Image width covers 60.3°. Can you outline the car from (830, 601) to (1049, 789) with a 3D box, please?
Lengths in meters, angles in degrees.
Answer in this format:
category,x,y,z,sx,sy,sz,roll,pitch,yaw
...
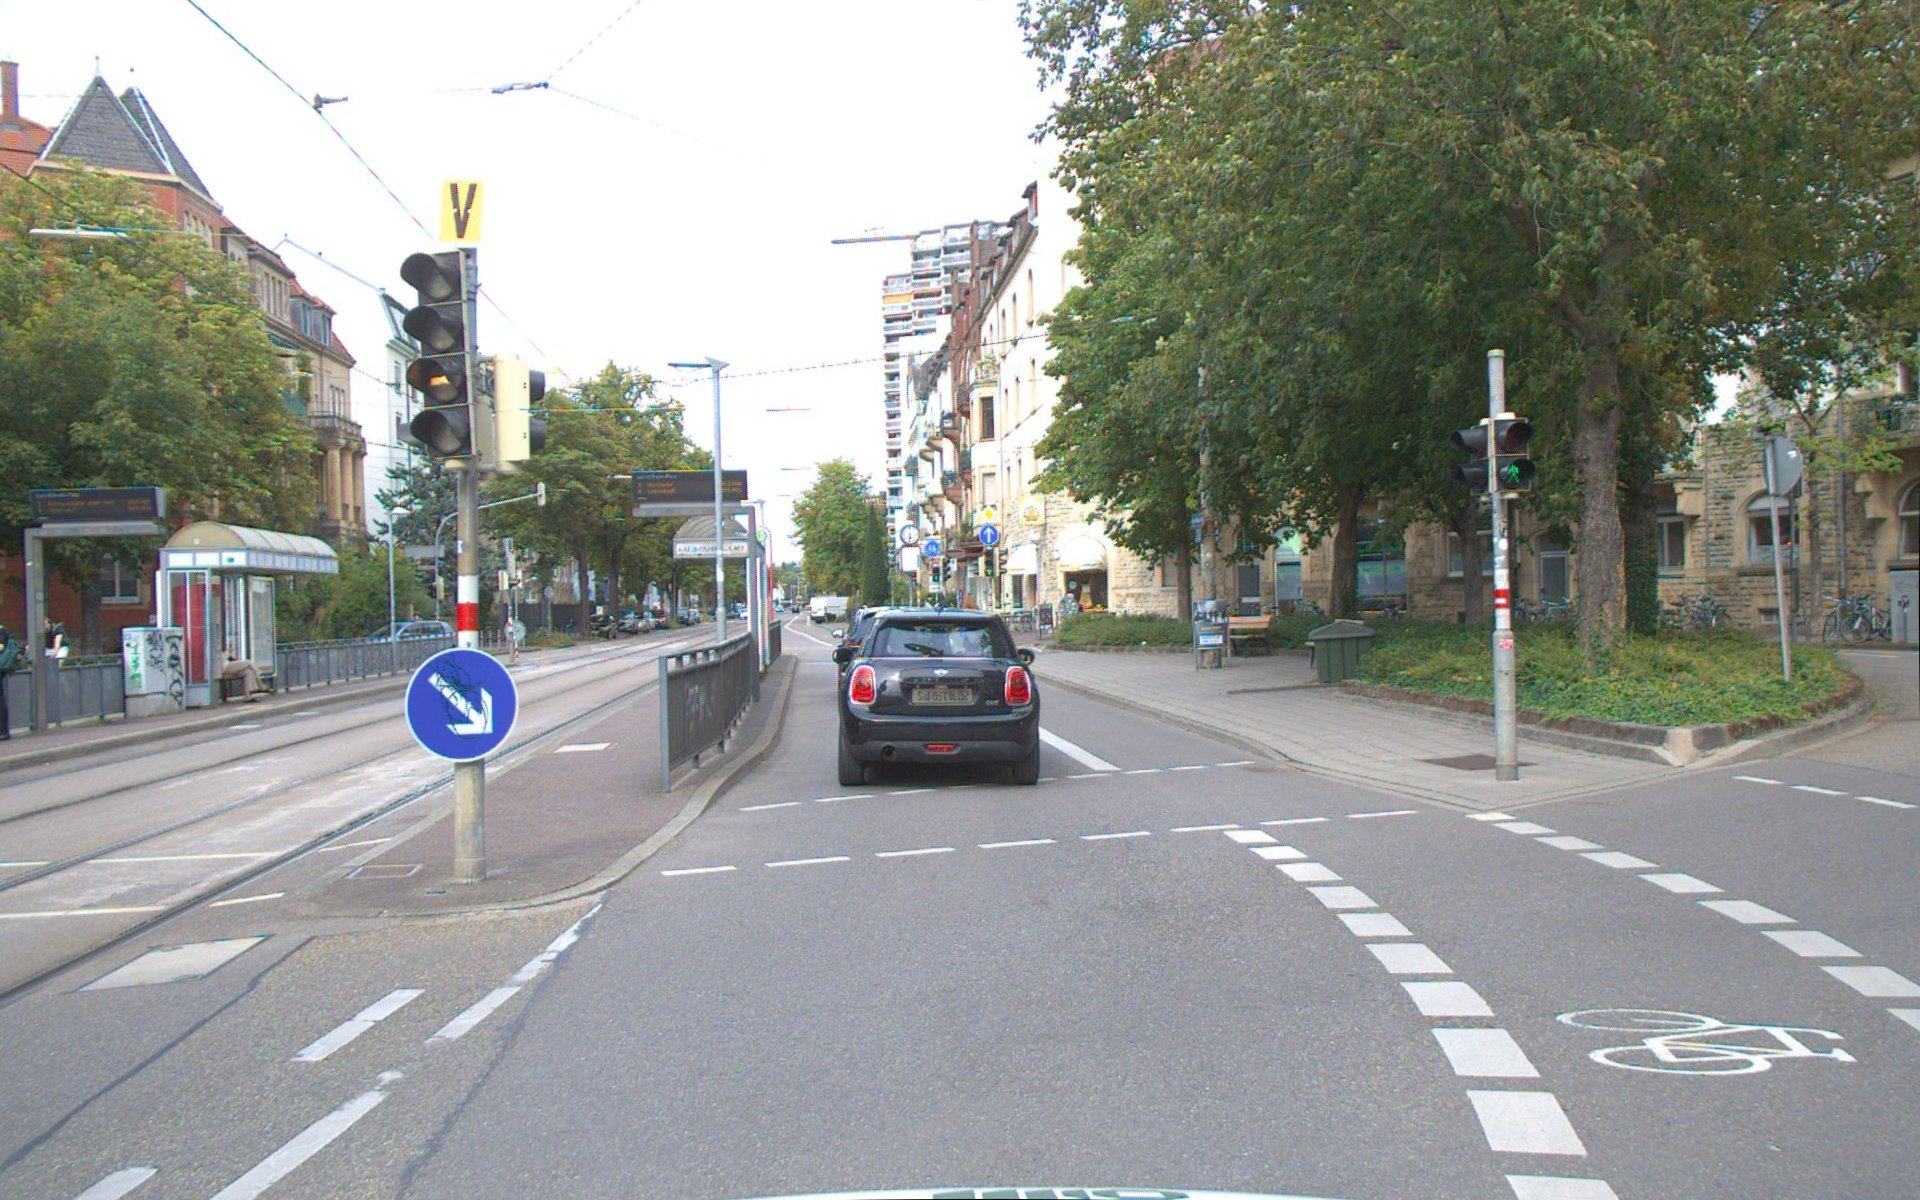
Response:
category,x,y,z,sx,sy,sz,roll,pitch,yaw
car,-0.187,0.748,14.965,1.716,1.466,3.999,0,0,-1

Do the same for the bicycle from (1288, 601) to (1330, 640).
category,x,y,z,sx,sy,sz,roll,pitch,yaw
bicycle,10.978,0.636,52.042,0.522,1.147,1.886,-2,0,36

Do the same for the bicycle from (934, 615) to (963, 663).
category,x,y,z,sx,sy,sz,roll,pitch,yaw
bicycle,-0.308,1.010,43.708,0.670,1.190,1.695,-2,0,-3

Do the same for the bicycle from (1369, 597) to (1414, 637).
category,x,y,z,sx,sy,sz,roll,pitch,yaw
bicycle,13.083,0.522,50.143,0.654,1.147,1.886,-2,0,37

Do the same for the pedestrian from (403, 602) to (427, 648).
category,x,y,z,sx,sy,sz,roll,pitch,yaw
pedestrian,-21.949,0.999,66.629,0.716,1.815,0.834,-2,0,-5

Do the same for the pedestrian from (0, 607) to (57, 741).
category,x,y,z,sx,sy,sz,roll,pitch,yaw
pedestrian,-11.973,0.922,20.784,0.836,1.649,0.841,-2,0,-10

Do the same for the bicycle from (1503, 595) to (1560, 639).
category,x,y,z,sx,sy,sz,roll,pitch,yaw
bicycle,16.155,0.472,46.717,1.873,1.147,0.526,-3,1,-36

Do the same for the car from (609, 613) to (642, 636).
category,x,y,z,sx,sy,sz,roll,pitch,yaw
car,-22.360,1.627,110.543,1.733,1.420,3.995,-2,0,-6

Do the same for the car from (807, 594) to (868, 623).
category,x,y,z,sx,sy,sz,roll,pitch,yaw
car,-10.661,0.720,144.029,2.356,2.312,5.005,-2,0,44

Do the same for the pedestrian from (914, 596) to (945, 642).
category,x,y,z,sx,sy,sz,roll,pitch,yaw
pedestrian,-1.182,0.733,64.322,0.719,1.703,0.831,-5,0,41

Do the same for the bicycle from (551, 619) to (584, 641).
category,x,y,z,sx,sy,sz,roll,pitch,yaw
bicycle,-21.597,1.624,91.053,1.660,1.138,0.563,-2,0,-45

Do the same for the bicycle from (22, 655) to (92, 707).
category,x,y,z,sx,sy,sz,roll,pitch,yaw
bicycle,-18.207,1.625,33.393,0.648,0.965,1.548,-2,0,-5

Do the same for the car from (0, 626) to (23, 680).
category,x,y,z,sx,sy,sz,roll,pitch,yaw
car,-28.571,1.560,46.036,1.784,1.503,3.975,-2,0,43

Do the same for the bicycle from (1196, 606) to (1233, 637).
category,x,y,z,sx,sy,sz,roll,pitch,yaw
bicycle,8.498,0.709,55.183,0.590,0.989,1.668,-2,0,32

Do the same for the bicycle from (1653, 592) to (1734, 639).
category,x,y,z,sx,sy,sz,roll,pitch,yaw
bicycle,18.630,0.390,42.011,1.853,1.147,0.531,-2,0,-9

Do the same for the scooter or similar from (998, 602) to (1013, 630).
category,x,y,z,sx,sy,sz,roll,pitch,yaw
scooter or similar,2.033,0.714,73.564,0.498,1.209,1.260,-2,0,-5

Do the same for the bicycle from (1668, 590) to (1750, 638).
category,x,y,z,sx,sy,sz,roll,pitch,yaw
bicycle,18.759,0.345,41.436,1.853,1.147,0.531,-2,0,-9

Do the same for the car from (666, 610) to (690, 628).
category,x,y,z,sx,sy,sz,roll,pitch,yaw
car,-27.246,1.821,159.940,1.955,1.579,3.996,-2,0,-5

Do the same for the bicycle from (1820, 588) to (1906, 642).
category,x,y,z,sx,sy,sz,roll,pitch,yaw
bicycle,20.338,0.326,37.237,1.857,1.147,0.530,-2,0,-17

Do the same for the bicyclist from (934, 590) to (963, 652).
category,x,y,z,sx,sy,sz,roll,pitch,yaw
bicyclist,-0.319,0.542,43.653,0.670,1.591,0.997,-2,0,-3

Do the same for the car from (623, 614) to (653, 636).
category,x,y,z,sx,sy,sz,roll,pitch,yaw
car,-23.003,1.763,118.181,1.733,1.420,3.995,-2,0,-6

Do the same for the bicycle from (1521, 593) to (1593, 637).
category,x,y,z,sx,sy,sz,roll,pitch,yaw
bicycle,16.616,0.419,46.046,1.855,1.147,0.561,-2,0,-14

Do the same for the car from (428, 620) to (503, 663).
category,x,y,z,sx,sy,sz,roll,pitch,yaw
car,-17.686,1.458,59.318,1.717,1.466,3.997,0,0,-3

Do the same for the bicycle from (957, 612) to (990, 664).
category,x,y,z,sx,sy,sz,roll,pitch,yaw
bicycle,0.321,0.887,39.283,0.587,1.190,1.695,-2,0,-5

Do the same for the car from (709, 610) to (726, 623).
category,x,y,z,sx,sy,sz,roll,pitch,yaw
car,-32.639,2.234,222.568,1.955,1.579,3.996,-2,0,-5

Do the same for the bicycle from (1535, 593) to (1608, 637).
category,x,y,z,sx,sy,sz,roll,pitch,yaw
bicycle,16.804,0.411,45.475,1.855,1.147,0.596,-2,0,-14

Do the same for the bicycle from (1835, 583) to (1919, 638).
category,x,y,z,sx,sy,sz,roll,pitch,yaw
bicycle,20.301,0.228,36.328,1.849,1.147,0.533,-2,0,0

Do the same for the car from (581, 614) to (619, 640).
category,x,y,z,sx,sy,sz,roll,pitch,yaw
car,-21.407,1.586,98.567,1.733,1.420,3.995,-2,0,-6

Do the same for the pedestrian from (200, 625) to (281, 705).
category,x,y,z,sx,sy,sz,roll,pitch,yaw
pedestrian,-12.489,1.113,28.736,1.039,1.316,0.983,-2,0,-10

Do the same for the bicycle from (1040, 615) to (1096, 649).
category,x,y,z,sx,sy,sz,roll,pitch,yaw
bicycle,3.601,1.072,55.134,1.783,1.095,0.615,-2,0,34

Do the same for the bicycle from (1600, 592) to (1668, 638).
category,x,y,z,sx,sy,sz,roll,pitch,yaw
bicycle,17.839,0.380,43.743,1.866,1.147,0.589,-2,0,-28

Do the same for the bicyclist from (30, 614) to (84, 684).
category,x,y,z,sx,sy,sz,roll,pitch,yaw
bicyclist,-18.229,0.981,33.394,0.648,1.363,0.835,-2,0,-5

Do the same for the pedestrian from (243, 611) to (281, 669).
category,x,y,z,sx,sy,sz,roll,pitch,yaw
pedestrian,-20.842,1.185,49.369,0.853,1.661,0.743,-2,0,-11

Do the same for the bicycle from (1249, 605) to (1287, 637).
category,x,y,z,sx,sy,sz,roll,pitch,yaw
bicycle,9.935,0.679,53.319,0.522,0.989,1.643,-2,0,37

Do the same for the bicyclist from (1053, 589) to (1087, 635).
category,x,y,z,sx,sy,sz,roll,pitch,yaw
bicyclist,3.653,0.402,55.087,0.896,1.498,0.615,-2,0,34

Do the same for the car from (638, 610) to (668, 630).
category,x,y,z,sx,sy,sz,roll,pitch,yaw
car,-25.411,1.629,136.992,1.955,1.579,3.996,-2,0,-5

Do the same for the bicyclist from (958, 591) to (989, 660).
category,x,y,z,sx,sy,sz,roll,pitch,yaw
bicyclist,0.314,0.596,39.280,0.583,1.577,1.012,-2,0,-5

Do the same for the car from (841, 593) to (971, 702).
category,x,y,z,sx,sy,sz,roll,pitch,yaw
car,-0.900,0.707,26.473,1.888,1.536,3.997,-2,0,-3

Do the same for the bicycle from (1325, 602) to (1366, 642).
category,x,y,z,sx,sy,sz,roll,pitch,yaw
bicycle,11.961,0.673,51.262,0.522,1.147,1.886,-2,0,36
